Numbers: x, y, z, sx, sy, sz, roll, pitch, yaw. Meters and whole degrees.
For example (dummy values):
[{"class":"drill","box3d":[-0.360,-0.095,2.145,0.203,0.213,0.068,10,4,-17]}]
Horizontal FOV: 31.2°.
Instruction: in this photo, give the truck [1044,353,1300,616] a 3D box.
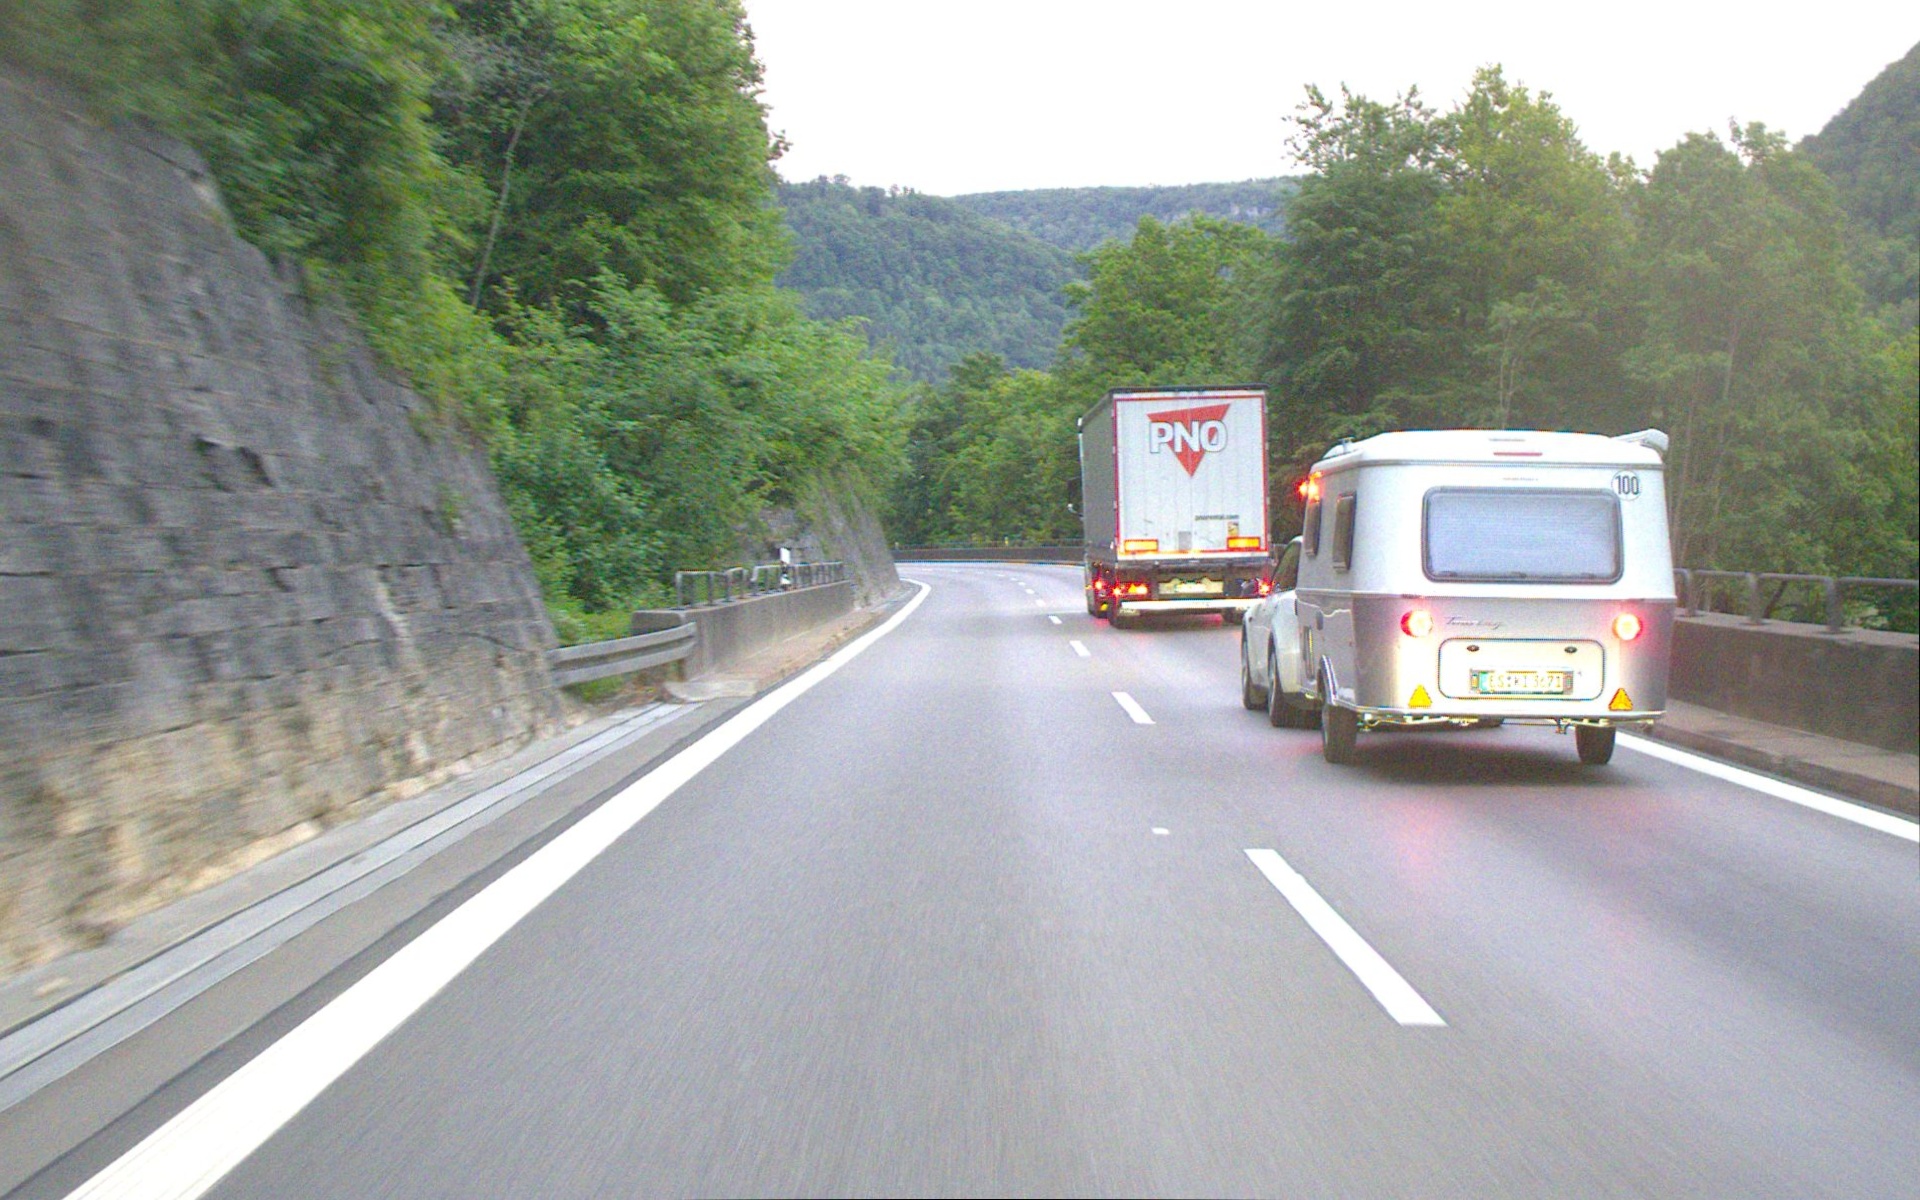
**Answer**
[{"class":"truck","box3d":[3.636,-1.982,63.825,3.294,4.158,16.504,-2,1,-1]}]

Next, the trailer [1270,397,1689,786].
[{"class":"trailer","box3d":[3.478,-0.113,24.207,2.054,2.367,5.938,-1,1,0]}]

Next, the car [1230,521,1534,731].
[{"class":"car","box3d":[3.505,0.169,29.428,1.993,1.609,4.865,1,1,0]}]
